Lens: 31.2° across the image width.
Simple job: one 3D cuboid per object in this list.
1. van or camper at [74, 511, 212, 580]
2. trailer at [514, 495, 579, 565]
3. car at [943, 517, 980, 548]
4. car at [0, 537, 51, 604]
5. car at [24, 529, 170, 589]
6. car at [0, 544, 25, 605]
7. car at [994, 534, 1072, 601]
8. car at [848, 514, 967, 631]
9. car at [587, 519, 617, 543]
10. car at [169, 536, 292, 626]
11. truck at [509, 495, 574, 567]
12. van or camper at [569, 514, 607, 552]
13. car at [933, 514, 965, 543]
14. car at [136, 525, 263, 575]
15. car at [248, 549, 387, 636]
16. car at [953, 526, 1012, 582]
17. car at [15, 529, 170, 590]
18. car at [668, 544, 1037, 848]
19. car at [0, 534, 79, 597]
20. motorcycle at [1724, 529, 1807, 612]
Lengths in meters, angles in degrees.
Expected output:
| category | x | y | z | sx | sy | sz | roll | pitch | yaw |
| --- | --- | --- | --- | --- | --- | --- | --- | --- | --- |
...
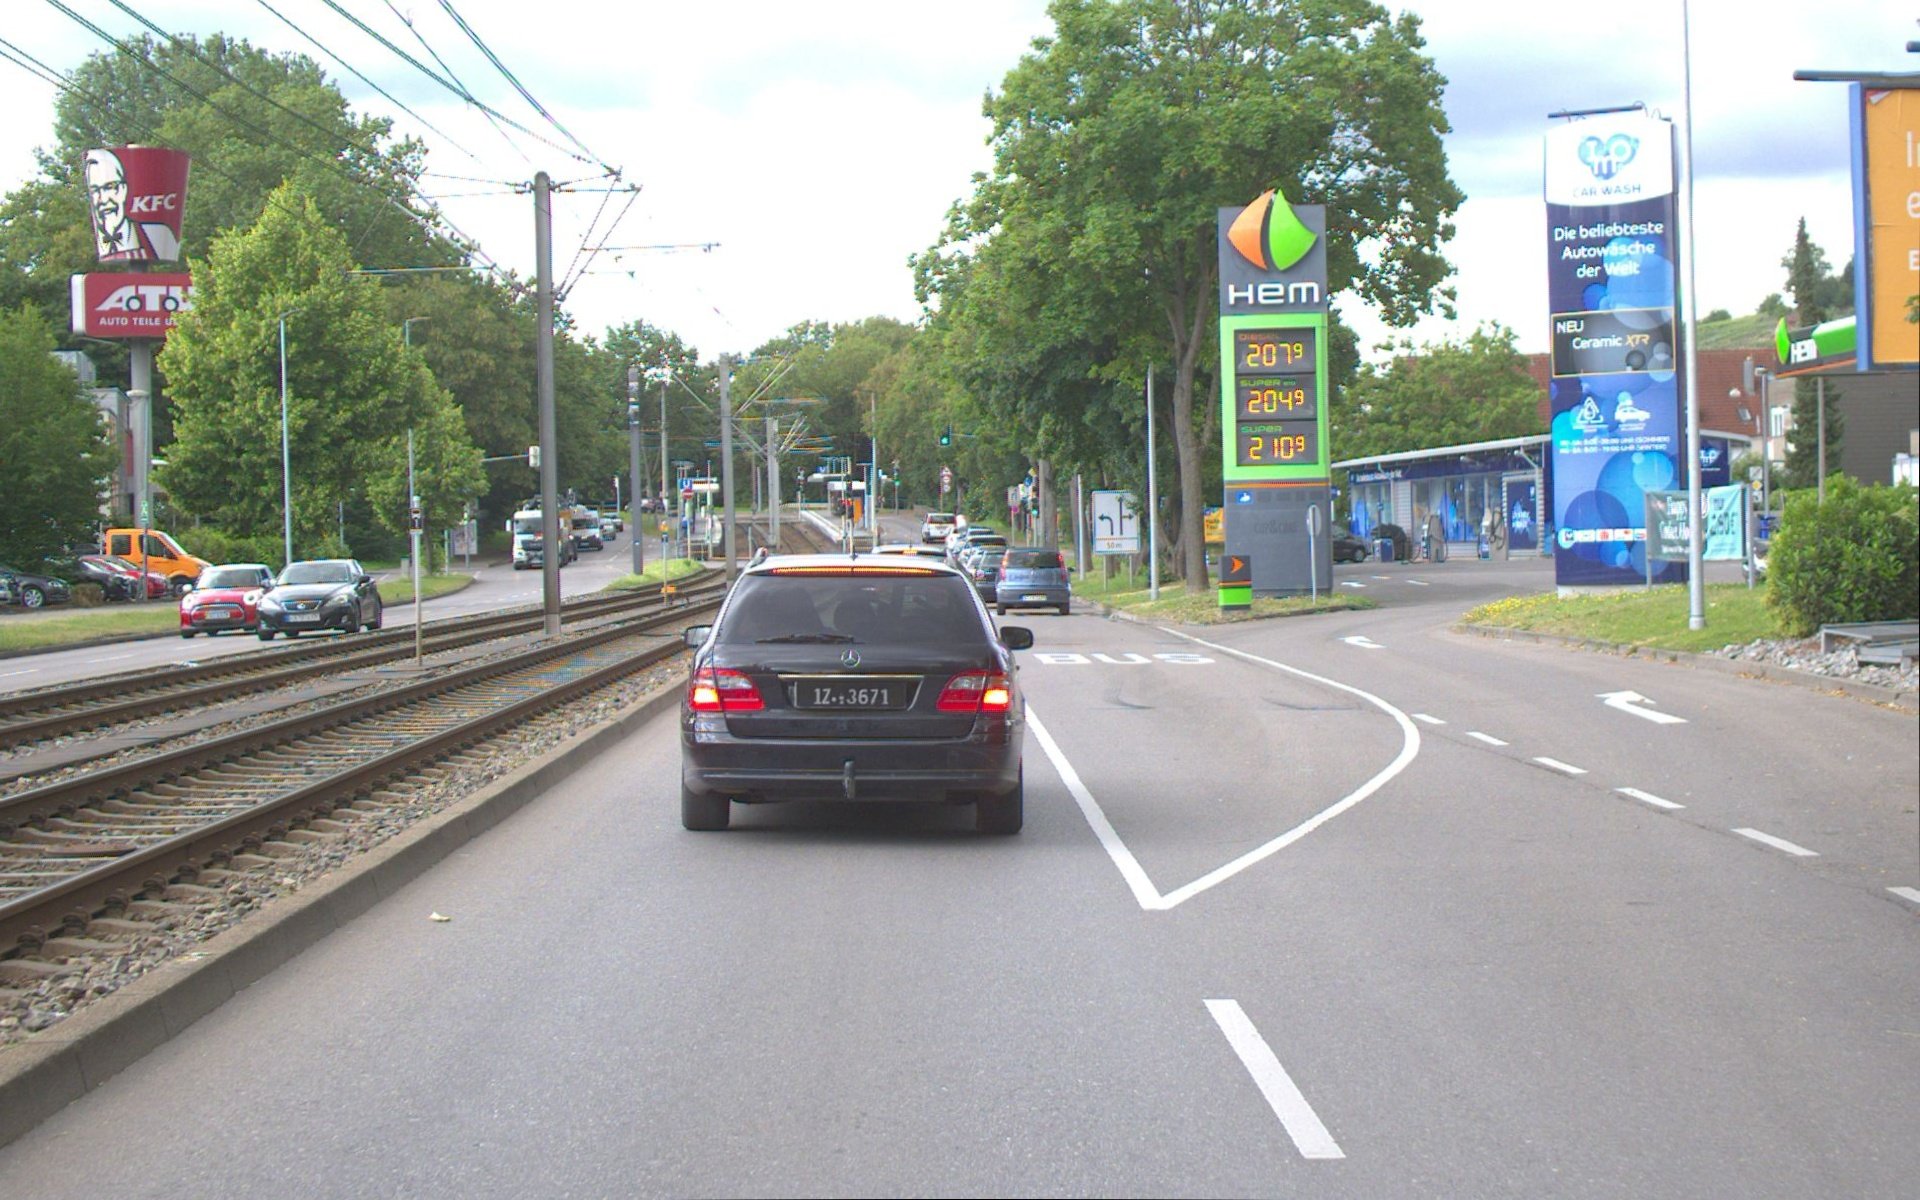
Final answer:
| category | x | y | z | sx | sy | sz | roll | pitch | yaw |
| --- | --- | --- | --- | --- | --- | --- | --- | --- | --- |
| van or camper | -25.713 | -1.717 | 108.308 | 3.986 | 2.127 | 1.878 | 0 | 1 | -5 |
| trailer | -22.630 | -3.829 | 188.716 | 2.704 | 3.648 | 13.301 | -2 | 1 | -4 |
| car | 0.052 | -3.832 | 194.507 | 1.993 | 1.708 | 4.000 | -1 | 1 | -1 |
| car | -24.978 | -0.708 | 86.063 | 3.986 | 1.629 | 1.878 | -2 | 1 | -5 |
| car | -25.889 | -1.229 | 103.204 | 3.986 | 1.791 | 1.878 | 0 | 1 | -5 |
| car | -24.986 | -0.587 | 83.107 | 4.306 | 1.467 | 1.681 | -1 | 1 | -3 |
| car | 1.577 | -0.718 | 75.378 | 1.571 | 1.410 | 3.354 | 1 | 1 | -1 |
| car | -0.824 | -0.437 | 54.161 | 1.780 | 1.744 | 3.718 | 1 | 1 | -1 |
| car | -25.158 | -4.859 | 241.876 | 1.765 | 1.641 | 3.771 | 0 | 1 | -1 |
| car | -14.969 | -0.419 | 70.702 | 1.792 | 1.766 | 4.001 | -1 | 1 | -3 |
| truck | -22.312 | -3.661 | 183.877 | 2.706 | 3.651 | 11.114 | -2 | 1 | -4 |
| van or camper | -23.551 | -4.227 | 217.720 | 1.993 | 2.346 | 5.766 | -2 | 1 | -3 |
| car | -0.695 | -4.474 | 215.627 | 1.993 | 1.831 | 4.000 | 0 | 1 | -1 |
| car | -25.900 | -1.703 | 117.113 | 3.986 | 1.594 | 1.797 | -2 | 1 | -5 |
| car | -11.722 | -0.166 | 62.983 | 1.759 | 1.396 | 4.444 | -4 | 1 | -2 |
| car | 0.583 | -1.209 | 90.790 | 1.466 | 1.410 | 3.354 | 1 | 1 | -1 |
| car | -24.726 | -1.168 | 98.090 | 3.986 | 1.594 | 1.878 | -2 | 1 | -5 |
| car | -0.554 | 0.440 | 18.804 | 1.808 | 1.469 | 3.881 | 0 | 1 | -1 |
| car | -25.463 | -0.881 | 90.727 | 3.986 | 1.594 | 1.878 | -2 | 1 | -5 |
| motorcycle | 13.346 | -0.498 | 56.991 | 0.855 | 1.326 | 1.990 | -2 | 1 | -1 |
